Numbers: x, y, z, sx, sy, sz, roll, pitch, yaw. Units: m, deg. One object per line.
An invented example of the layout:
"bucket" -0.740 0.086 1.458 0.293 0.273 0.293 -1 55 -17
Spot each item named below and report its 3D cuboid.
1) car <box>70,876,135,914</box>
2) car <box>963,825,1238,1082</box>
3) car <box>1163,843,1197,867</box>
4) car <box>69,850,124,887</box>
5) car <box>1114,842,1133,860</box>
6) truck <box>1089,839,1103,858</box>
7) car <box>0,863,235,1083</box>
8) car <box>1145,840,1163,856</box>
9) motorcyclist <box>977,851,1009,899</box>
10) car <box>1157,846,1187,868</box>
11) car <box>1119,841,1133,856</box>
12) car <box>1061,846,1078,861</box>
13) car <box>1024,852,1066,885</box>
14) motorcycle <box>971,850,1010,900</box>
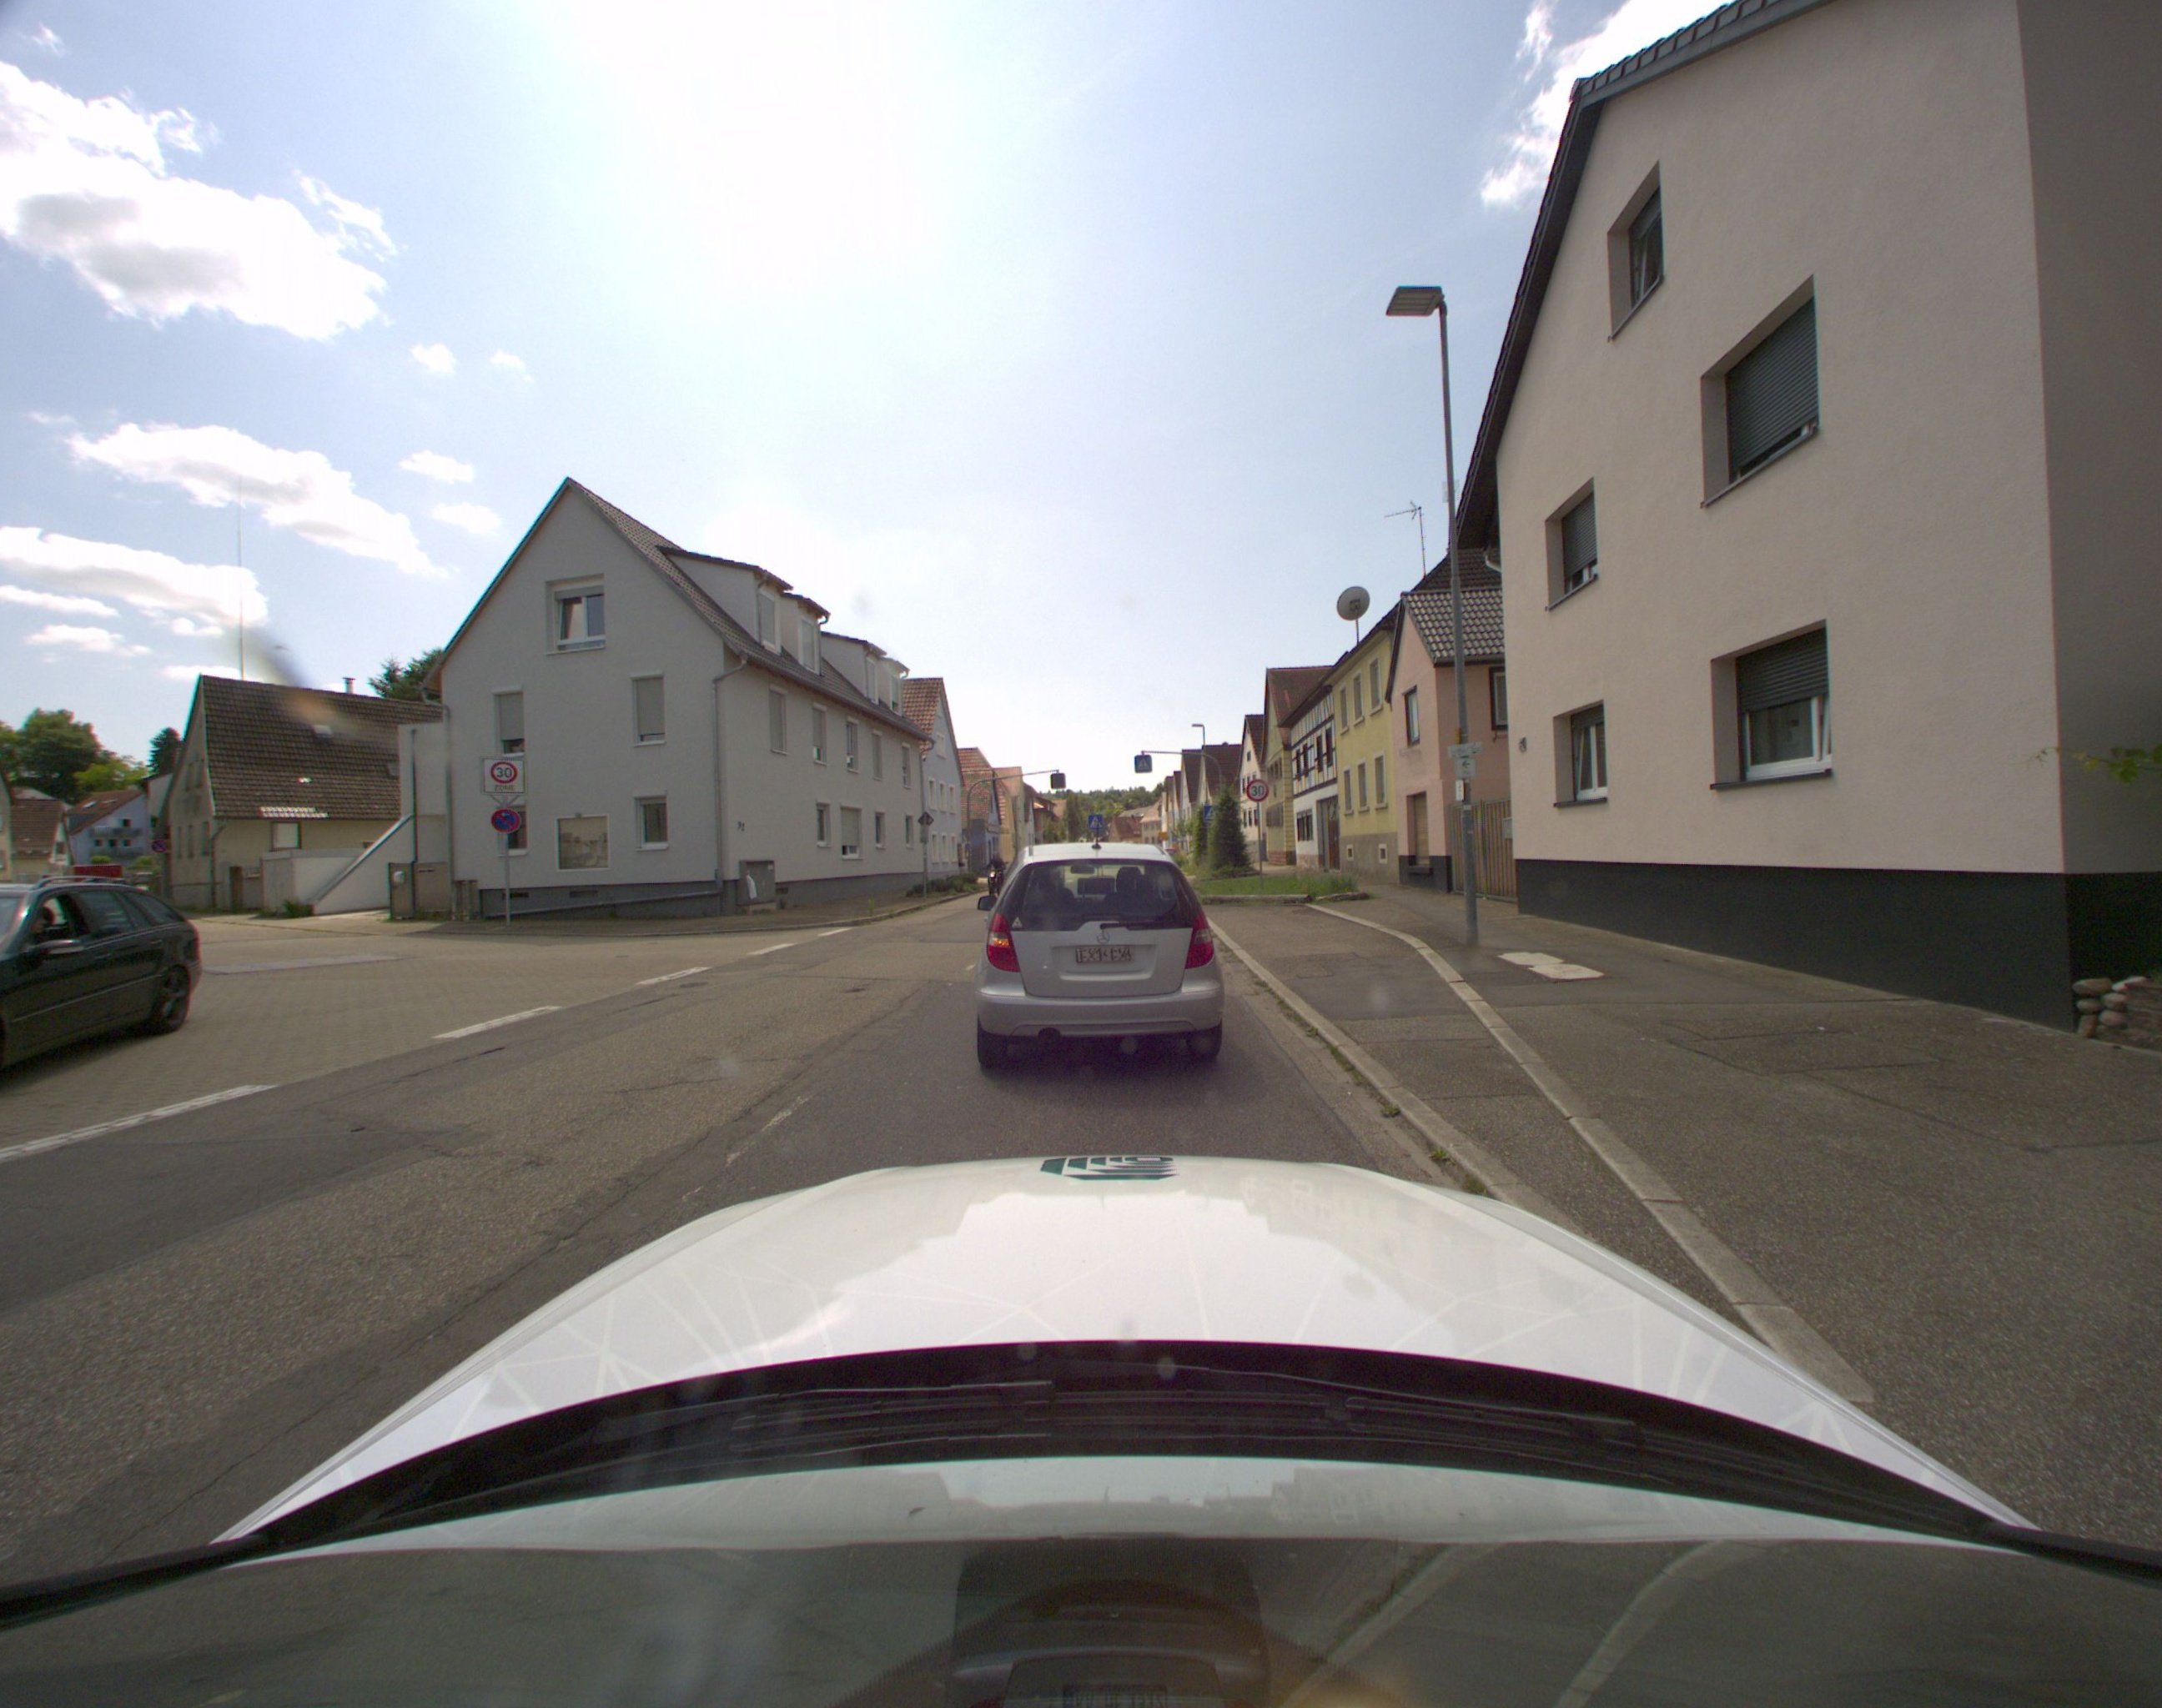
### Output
"car" -41.673 1.747 34.665 3.431 1.530 1.500 -3 -2 36
"car" 0.002 0.647 7.169 1.807 1.643 3.723 0 0 -4
"car" 6.714 0.104 55.658 1.985 1.508 4.002 -1 -2 2
"car" -46.237 0.701 38.228 3.431 1.635 1.406 -3 -2 36
"car" 4.794 -0.324 91.544 1.986 1.816 4.001 -1 -2 1
"truck" 2.381 -0.823 126.392 1.986 2.537 6.741 -1 -2 2
"car" -8.324 0.813 5.848 1.819 1.412 4.592 0 -2 -29
"car" 9.484 -0.784 105.877 1.986 1.816 4.001 -1 -2 1
"motorcyclist" -2.917 0.679 27.064 0.892 1.554 0.808 -1 0 4
"car" 6.904 0.251 62.314 1.985 1.508 4.002 -1 -2 2
"car" 6.754 -0.796 121.279 1.986 2.014 4.002 -1 -2 2
"car" -1.300 -0.027 91.962 1.660 1.596 4.002 -1 -2 3
"car" -1.770 0.748 41.610 1.492 1.540 3.863 1 -1 7
"motorcycle" -2.949 0.659 26.786 0.876 1.561 1.969 -1 0 4
